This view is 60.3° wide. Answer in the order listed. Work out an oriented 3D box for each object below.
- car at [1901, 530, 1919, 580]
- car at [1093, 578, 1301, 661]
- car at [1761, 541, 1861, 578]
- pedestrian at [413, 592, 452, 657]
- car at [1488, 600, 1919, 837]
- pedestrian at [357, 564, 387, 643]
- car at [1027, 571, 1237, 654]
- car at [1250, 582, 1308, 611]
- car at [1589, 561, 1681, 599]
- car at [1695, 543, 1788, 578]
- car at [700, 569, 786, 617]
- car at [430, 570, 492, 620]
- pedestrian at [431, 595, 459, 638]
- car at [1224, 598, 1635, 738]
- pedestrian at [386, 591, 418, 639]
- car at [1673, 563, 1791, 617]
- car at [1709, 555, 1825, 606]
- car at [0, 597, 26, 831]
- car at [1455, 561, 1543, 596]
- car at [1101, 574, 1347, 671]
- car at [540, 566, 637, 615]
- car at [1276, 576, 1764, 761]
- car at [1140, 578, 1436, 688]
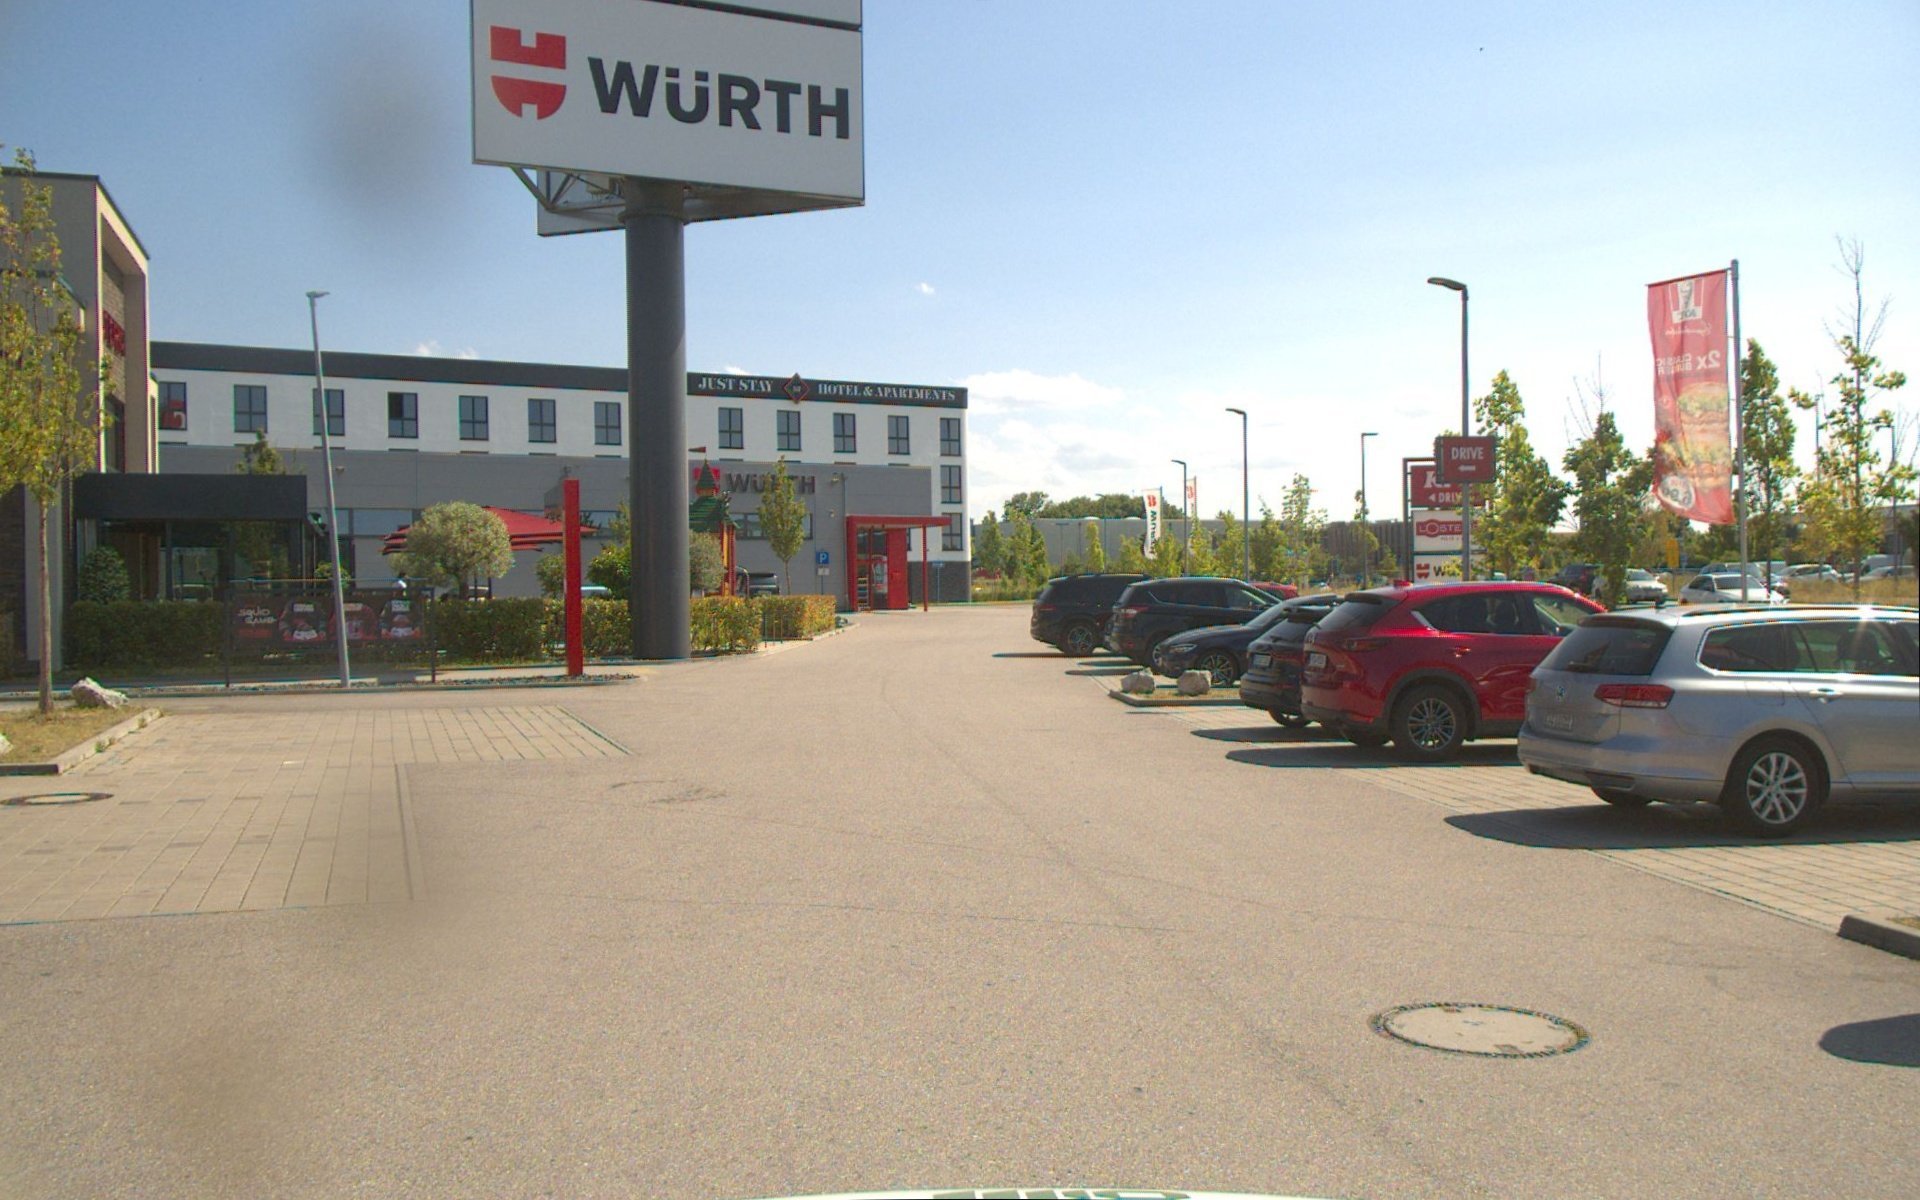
[{"bbox_3d":[50.657,-2.310,83.928,4.969,2.498,1.995,-1,1,-11],"label":"car"},{"bbox_3d":[4.864,0.373,34.273,3.987,1.637,1.895,0,1,-3],"label":"car"},{"bbox_3d":[49.368,-2.337,95.964,4.969,2.048,1.995,-1,1,-11],"label":"car"},{"bbox_3d":[-11.537,0.528,36.192,0.474,1.390,0.646,0,1,45],"label":"pedestrian"},{"bbox_3d":[6.168,0.733,11.452,4.500,1.437,1.737,0,0,-8],"label":"car"},{"bbox_3d":[-11.691,0.065,32.870,0.517,1.531,0.565,-1,1,-23],"label":"pedestrian"},{"bbox_3d":[3.806,0.257,37.113,4.483,1.791,1.895,0,0,-3],"label":"car"},{"bbox_3d":[20.886,-0.248,108.454,1.960,1.763,4.742,-1,1,-14],"label":"car"},{"bbox_3d":[28.708,-0.880,70.497,1.953,1.530,4.657,-1,1,-1],"label":"car"},{"bbox_3d":[48.070,-2.435,101.777,4.969,2.048,1.995,-1,1,-11],"label":"car"},{"bbox_3d":[-9.207,-0.313,69.854,2.048,1.913,4.834,-1,1,-28],"label":"car"},{"bbox_3d":[-14.264,-0.158,47.323,1.616,1.331,3.823,-1,1,-17],"label":"car"},{"bbox_3d":[-13.642,0.427,43.826,0.565,1.108,0.544,-1,1,-4],"label":"pedestrian"},{"bbox_3d":[5.223,0.714,18.612,4.116,1.435,1.769,0,0,-10],"label":"car"},{"bbox_3d":[-14.327,0.378,42.473,0.695,1.219,0.615,-1,1,-12],"label":"pedestrian"},{"bbox_3d":[23.552,-0.349,50.672,1.951,1.553,4.661,-1,1,7],"label":"car"},{"bbox_3d":[28.140,-0.698,57.812,1.834,1.693,4.604,-1,1,0],"label":"car"},{"bbox_3d":[-8.113,0.765,10.204,3.840,1.532,1.730,0,0,-21],"label":"car"},{"bbox_3d":[24.721,-1.002,76.036,1.957,1.553,4.648,-1,1,-9],"label":"car"},{"bbox_3d":[4.920,0.389,31.131,4.237,1.732,1.892,0,0,-8],"label":"car"},{"bbox_3d":[-12.599,-0.335,55.931,1.928,1.557,4.330,-2,1,-31],"label":"car"},{"bbox_3d":[5.415,0.611,16.286,4.138,1.666,1.947,0,0,-8],"label":"car"},{"bbox_3d":[5.154,0.495,26.397,4.346,1.666,1.895,0,0,-1],"label":"car"}]
